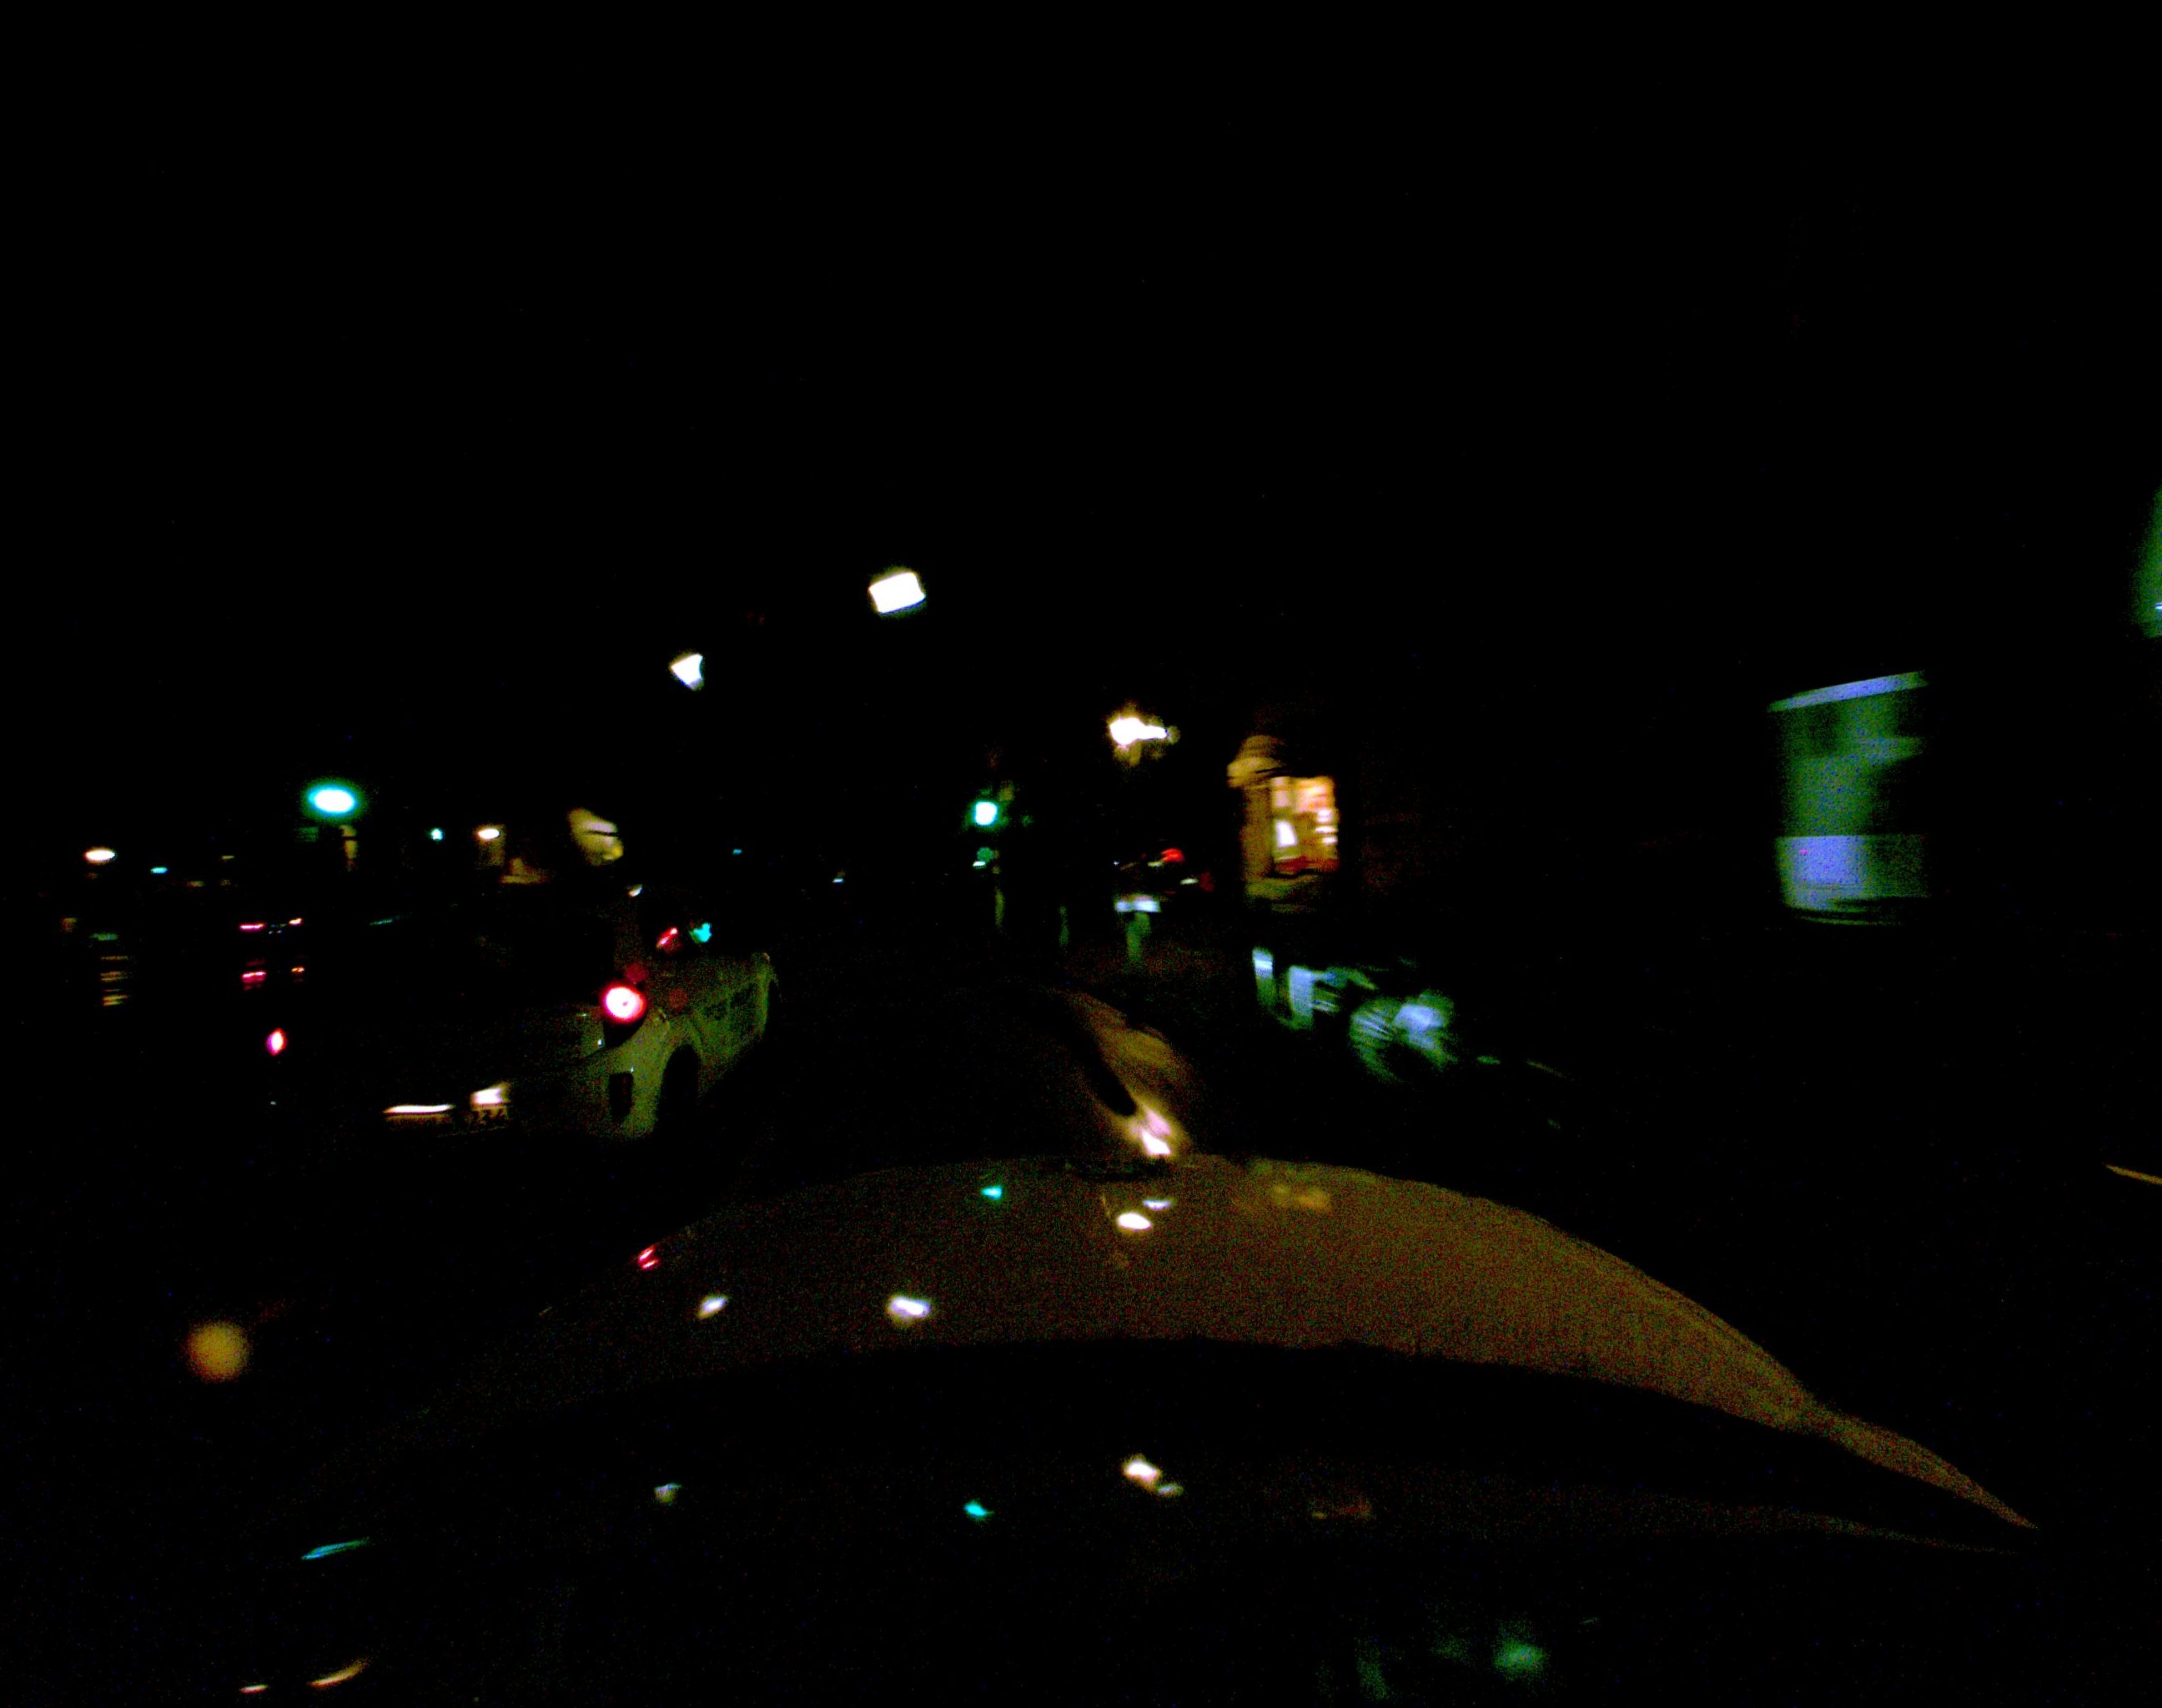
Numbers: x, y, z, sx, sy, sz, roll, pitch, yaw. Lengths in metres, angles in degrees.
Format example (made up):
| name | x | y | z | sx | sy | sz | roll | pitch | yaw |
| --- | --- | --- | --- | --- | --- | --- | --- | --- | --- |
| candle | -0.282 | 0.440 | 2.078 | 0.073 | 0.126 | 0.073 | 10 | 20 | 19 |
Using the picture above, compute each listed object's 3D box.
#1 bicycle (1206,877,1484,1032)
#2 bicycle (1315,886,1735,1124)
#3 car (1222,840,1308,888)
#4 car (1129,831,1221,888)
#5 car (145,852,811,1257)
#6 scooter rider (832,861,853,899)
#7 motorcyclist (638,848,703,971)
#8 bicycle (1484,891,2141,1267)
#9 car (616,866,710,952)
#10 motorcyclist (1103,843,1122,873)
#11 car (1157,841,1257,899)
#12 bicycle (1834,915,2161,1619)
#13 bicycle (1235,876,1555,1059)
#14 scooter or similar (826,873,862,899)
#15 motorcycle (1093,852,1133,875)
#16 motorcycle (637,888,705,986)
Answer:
| name | x | y | z | sx | sy | sz | roll | pitch | yaw |
| --- | --- | --- | --- | --- | --- | --- | --- | --- | --- |
| bicycle | 2.054 | 0.748 | 6.430 | 1.967 | 1.006 | 0.640 | -3 | -1 | -8 |
| bicycle | 2.358 | 0.749 | 4.410 | 1.967 | 1.006 | 0.640 | -3 | -1 | -8 |
| car | 6.959 | 0.340 | 30.573 | 1.629 | 1.442 | 4.082 | -8 | -2 | 34 |
| car | 4.488 | 0.203 | 38.020 | 2.195 | 2.441 | 5.418 | -2 | 1 | 30 |
| car | -3.071 | 0.822 | 5.218 | 1.919 | 1.516 | 3.586 | -3 | 0 | -10 |
| scooter rider | -10.268 | 1.110 | 35.068 | 0.656 | 1.573 | 0.634 | -1 | 1 | -44 |
| motorcyclist | -5.989 | 0.781 | 11.892 | 0.794 | 1.695 | 0.812 | -1 | -1 | -28 |
| bicycle | 2.601 | 0.713 | 2.974 | 1.967 | 1.006 | 0.640 | -3 | -1 | -8 |
| car | -9.798 | 1.196 | 19.122 | 1.758 | 1.739 | 3.765 | -1 | -1 | -27 |
| motorcyclist | 1.939 | 0.264 | 49.885 | 1.022 | 1.731 | 0.709 | -4 | -2 | -2 |
| car | 4.111 | 0.469 | 26.182 | 1.631 | 1.525 | 3.604 | -8 | -2 | 34 |
| bicycle | 2.697 | 0.668 | 1.610 | 1.967 | 1.065 | 0.640 | -3 | -1 | -8 |
| bicycle | 2.150 | 0.740 | 5.666 | 1.967 | 1.035 | 0.640 | -3 | -1 | -8 |
| scooter or similar | -10.213 | 1.367 | 35.123 | 1.377 | 1.052 | 0.634 | -1 | 1 | -44 |
| motorcycle | 1.962 | 0.582 | 49.871 | 2.312 | 1.230 | 0.709 | -4 | -2 | -2 |
| motorcycle | -5.999 | 1.146 | 11.901 | 0.794 | 1.213 | 2.230 | -1 | -1 | -28 |
